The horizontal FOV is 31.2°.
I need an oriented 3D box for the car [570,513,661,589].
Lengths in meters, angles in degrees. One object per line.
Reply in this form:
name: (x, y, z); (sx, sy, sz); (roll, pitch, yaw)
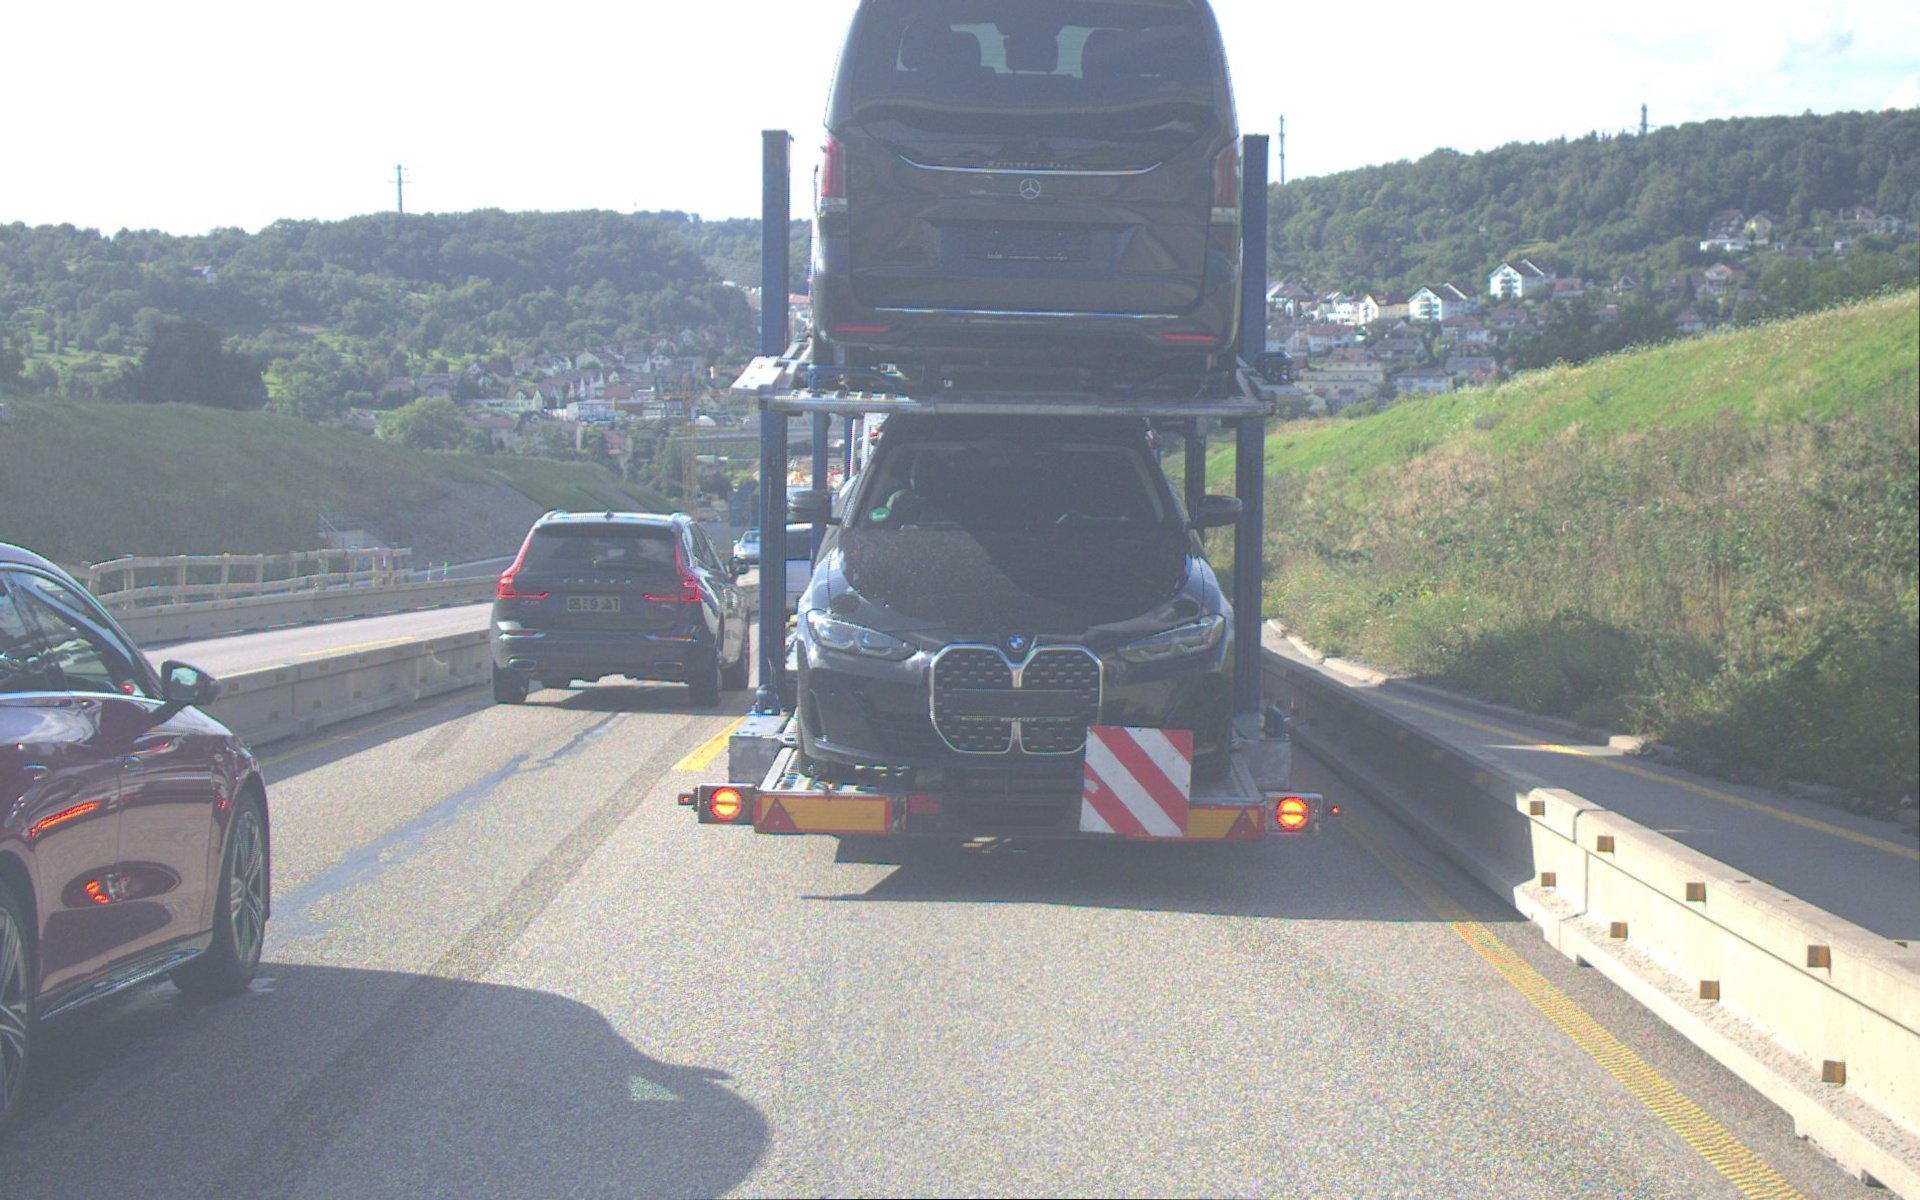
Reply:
car: (-8.145, -1.181, 81.478); (1.734, 1.653, 4.218); (-3, 2, -1)

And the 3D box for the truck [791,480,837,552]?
truck: (-8.464, -4.867, 199.965); (2.614, 4.139, 5.782); (0, 1, -2)

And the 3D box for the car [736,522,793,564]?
car: (-7.069, -2.077, 124.565); (1.734, 1.420, 4.628); (-3, 1, 0)

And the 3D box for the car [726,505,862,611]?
car: (-2.589, -0.704, 54.575); (1.796, 1.591, 4.743); (-1, 1, 1)

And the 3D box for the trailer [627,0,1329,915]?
trailer: (0.206, -0.916, 19.004); (2.708, 4.015, 11.419); (0, 1, 1)

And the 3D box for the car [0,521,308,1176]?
car: (-3.140, 0.547, 9.331); (1.823, 1.487, 4.685); (1, 2, 0)

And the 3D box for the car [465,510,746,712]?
car: (-3.012, 0.029, 30.118); (1.993, 1.619, 4.750); (0, 1, 0)

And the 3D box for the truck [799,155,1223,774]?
truck: (0.357, -0.921, 24.749); (2.678, 3.908, 6.027); (0, 1, 1)
